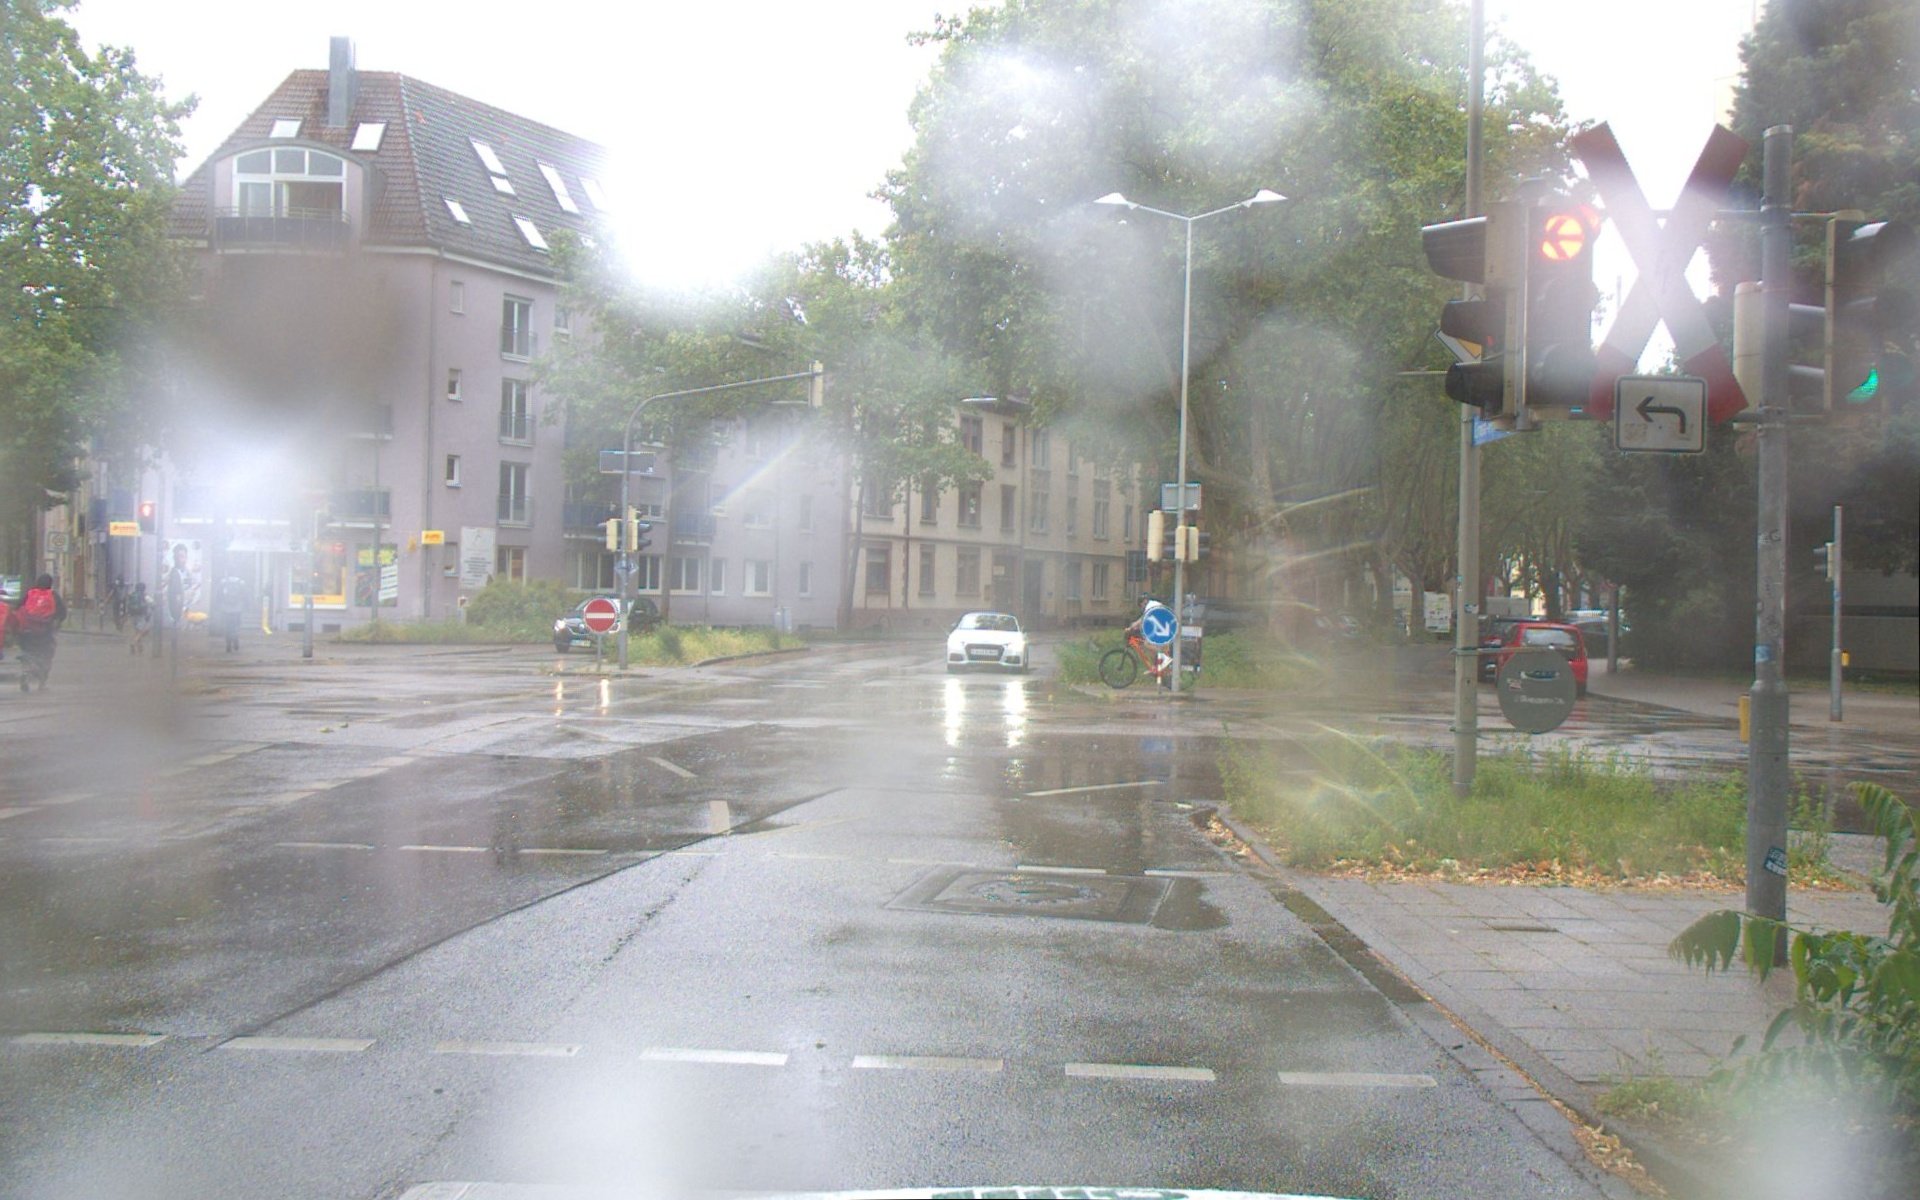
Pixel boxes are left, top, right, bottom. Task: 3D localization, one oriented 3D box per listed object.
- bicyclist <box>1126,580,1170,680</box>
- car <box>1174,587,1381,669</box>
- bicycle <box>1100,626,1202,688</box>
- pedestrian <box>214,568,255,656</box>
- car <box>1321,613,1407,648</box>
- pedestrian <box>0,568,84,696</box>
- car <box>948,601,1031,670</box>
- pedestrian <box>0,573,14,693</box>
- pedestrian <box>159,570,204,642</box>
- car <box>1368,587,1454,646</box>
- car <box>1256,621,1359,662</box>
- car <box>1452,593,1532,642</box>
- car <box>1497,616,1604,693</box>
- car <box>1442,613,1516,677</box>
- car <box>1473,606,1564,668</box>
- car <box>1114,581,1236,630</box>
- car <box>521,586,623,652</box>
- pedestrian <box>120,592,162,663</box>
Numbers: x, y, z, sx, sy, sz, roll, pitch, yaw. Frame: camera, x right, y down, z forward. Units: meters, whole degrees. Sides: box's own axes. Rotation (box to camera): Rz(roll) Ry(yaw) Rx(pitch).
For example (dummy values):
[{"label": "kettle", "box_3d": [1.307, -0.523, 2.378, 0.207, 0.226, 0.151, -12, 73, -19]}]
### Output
[{"label": "bicyclist", "box_3d": [3.481, 0.555, 30.666, 0.778, 1.817, 0.697, 1, -1, 7]}, {"label": "car", "box_3d": [6.284, 0.540, 32.783, 3.902, 1.512, 2.002, 1, 0, 12]}, {"label": "bicycle", "box_3d": [3.544, 1.045, 30.660, 1.833, 1.100, 0.657, 1, 0, 7]}, {"label": "pedestrian", "box_3d": [-15.738, 0.263, 35.871, 0.777, 1.888, 0.676, 1, 0, -25]}, {"label": "car", "box_3d": [19.257, 1.453, 78.918, 3.902, 1.574, 2.002, 1, 0, 12]}, {"label": "pedestrian", "box_3d": [-12.094, 0.406, 21.793, 0.715, 1.653, 0.816, 0, 1, -8]}, {"label": "car", "box_3d": [0.703, 0.802, 39.137, 1.845, 1.461, 4.001, 1, 0, 1]}, {"label": "pedestrian", "box_3d": [-12.666, 0.417, 21.250, 0.669, 1.546, 0.658, 1, 0, -8]}, {"label": "pedestrian", "box_3d": [-24.034, 0.191, 51.100, 0.889, 2.188, 0.887, 1, -1, 5]}, {"label": "car", "box_3d": [23.949, 0.860, 88.061, 2.005, 3.000, 4.742, 1, 0, -21]}, {"label": "car", "box_3d": [13.783, 1.618, 65.661, 3.902, 1.512, 2.002, 1, 0, 12]}, {"label": "car", "box_3d": [33.664, 1.100, 104.805, 1.974, 3.000, 4.720, 1, 0, -31]}, {"label": "car", "box_3d": [13.049, 1.167, 36.727, 1.754, 1.524, 4.003, 1, 0, 13]}, {"label": "car", "box_3d": [14.986, 1.260, 47.900, 1.745, 1.757, 4.003, 1, 0, 13]}, {"label": "car", "box_3d": [13.894, 0.883, 41.297, 1.745, 1.371, 3.932, 1, 1, 13]}, {"label": "car", "box_3d": [6.997, 0.178, 53.732, 3.784, 1.512, 1.717, 1, 0, 12]}, {"label": "car", "box_3d": [-9.628, 0.452, 41.335, 1.716, 1.538, 3.838, 1, 0, -2]}, {"label": "pedestrian", "box_3d": [-16.674, 0.548, 33.684, 0.643, 1.420, 0.773, 1, 0, -35]}]
